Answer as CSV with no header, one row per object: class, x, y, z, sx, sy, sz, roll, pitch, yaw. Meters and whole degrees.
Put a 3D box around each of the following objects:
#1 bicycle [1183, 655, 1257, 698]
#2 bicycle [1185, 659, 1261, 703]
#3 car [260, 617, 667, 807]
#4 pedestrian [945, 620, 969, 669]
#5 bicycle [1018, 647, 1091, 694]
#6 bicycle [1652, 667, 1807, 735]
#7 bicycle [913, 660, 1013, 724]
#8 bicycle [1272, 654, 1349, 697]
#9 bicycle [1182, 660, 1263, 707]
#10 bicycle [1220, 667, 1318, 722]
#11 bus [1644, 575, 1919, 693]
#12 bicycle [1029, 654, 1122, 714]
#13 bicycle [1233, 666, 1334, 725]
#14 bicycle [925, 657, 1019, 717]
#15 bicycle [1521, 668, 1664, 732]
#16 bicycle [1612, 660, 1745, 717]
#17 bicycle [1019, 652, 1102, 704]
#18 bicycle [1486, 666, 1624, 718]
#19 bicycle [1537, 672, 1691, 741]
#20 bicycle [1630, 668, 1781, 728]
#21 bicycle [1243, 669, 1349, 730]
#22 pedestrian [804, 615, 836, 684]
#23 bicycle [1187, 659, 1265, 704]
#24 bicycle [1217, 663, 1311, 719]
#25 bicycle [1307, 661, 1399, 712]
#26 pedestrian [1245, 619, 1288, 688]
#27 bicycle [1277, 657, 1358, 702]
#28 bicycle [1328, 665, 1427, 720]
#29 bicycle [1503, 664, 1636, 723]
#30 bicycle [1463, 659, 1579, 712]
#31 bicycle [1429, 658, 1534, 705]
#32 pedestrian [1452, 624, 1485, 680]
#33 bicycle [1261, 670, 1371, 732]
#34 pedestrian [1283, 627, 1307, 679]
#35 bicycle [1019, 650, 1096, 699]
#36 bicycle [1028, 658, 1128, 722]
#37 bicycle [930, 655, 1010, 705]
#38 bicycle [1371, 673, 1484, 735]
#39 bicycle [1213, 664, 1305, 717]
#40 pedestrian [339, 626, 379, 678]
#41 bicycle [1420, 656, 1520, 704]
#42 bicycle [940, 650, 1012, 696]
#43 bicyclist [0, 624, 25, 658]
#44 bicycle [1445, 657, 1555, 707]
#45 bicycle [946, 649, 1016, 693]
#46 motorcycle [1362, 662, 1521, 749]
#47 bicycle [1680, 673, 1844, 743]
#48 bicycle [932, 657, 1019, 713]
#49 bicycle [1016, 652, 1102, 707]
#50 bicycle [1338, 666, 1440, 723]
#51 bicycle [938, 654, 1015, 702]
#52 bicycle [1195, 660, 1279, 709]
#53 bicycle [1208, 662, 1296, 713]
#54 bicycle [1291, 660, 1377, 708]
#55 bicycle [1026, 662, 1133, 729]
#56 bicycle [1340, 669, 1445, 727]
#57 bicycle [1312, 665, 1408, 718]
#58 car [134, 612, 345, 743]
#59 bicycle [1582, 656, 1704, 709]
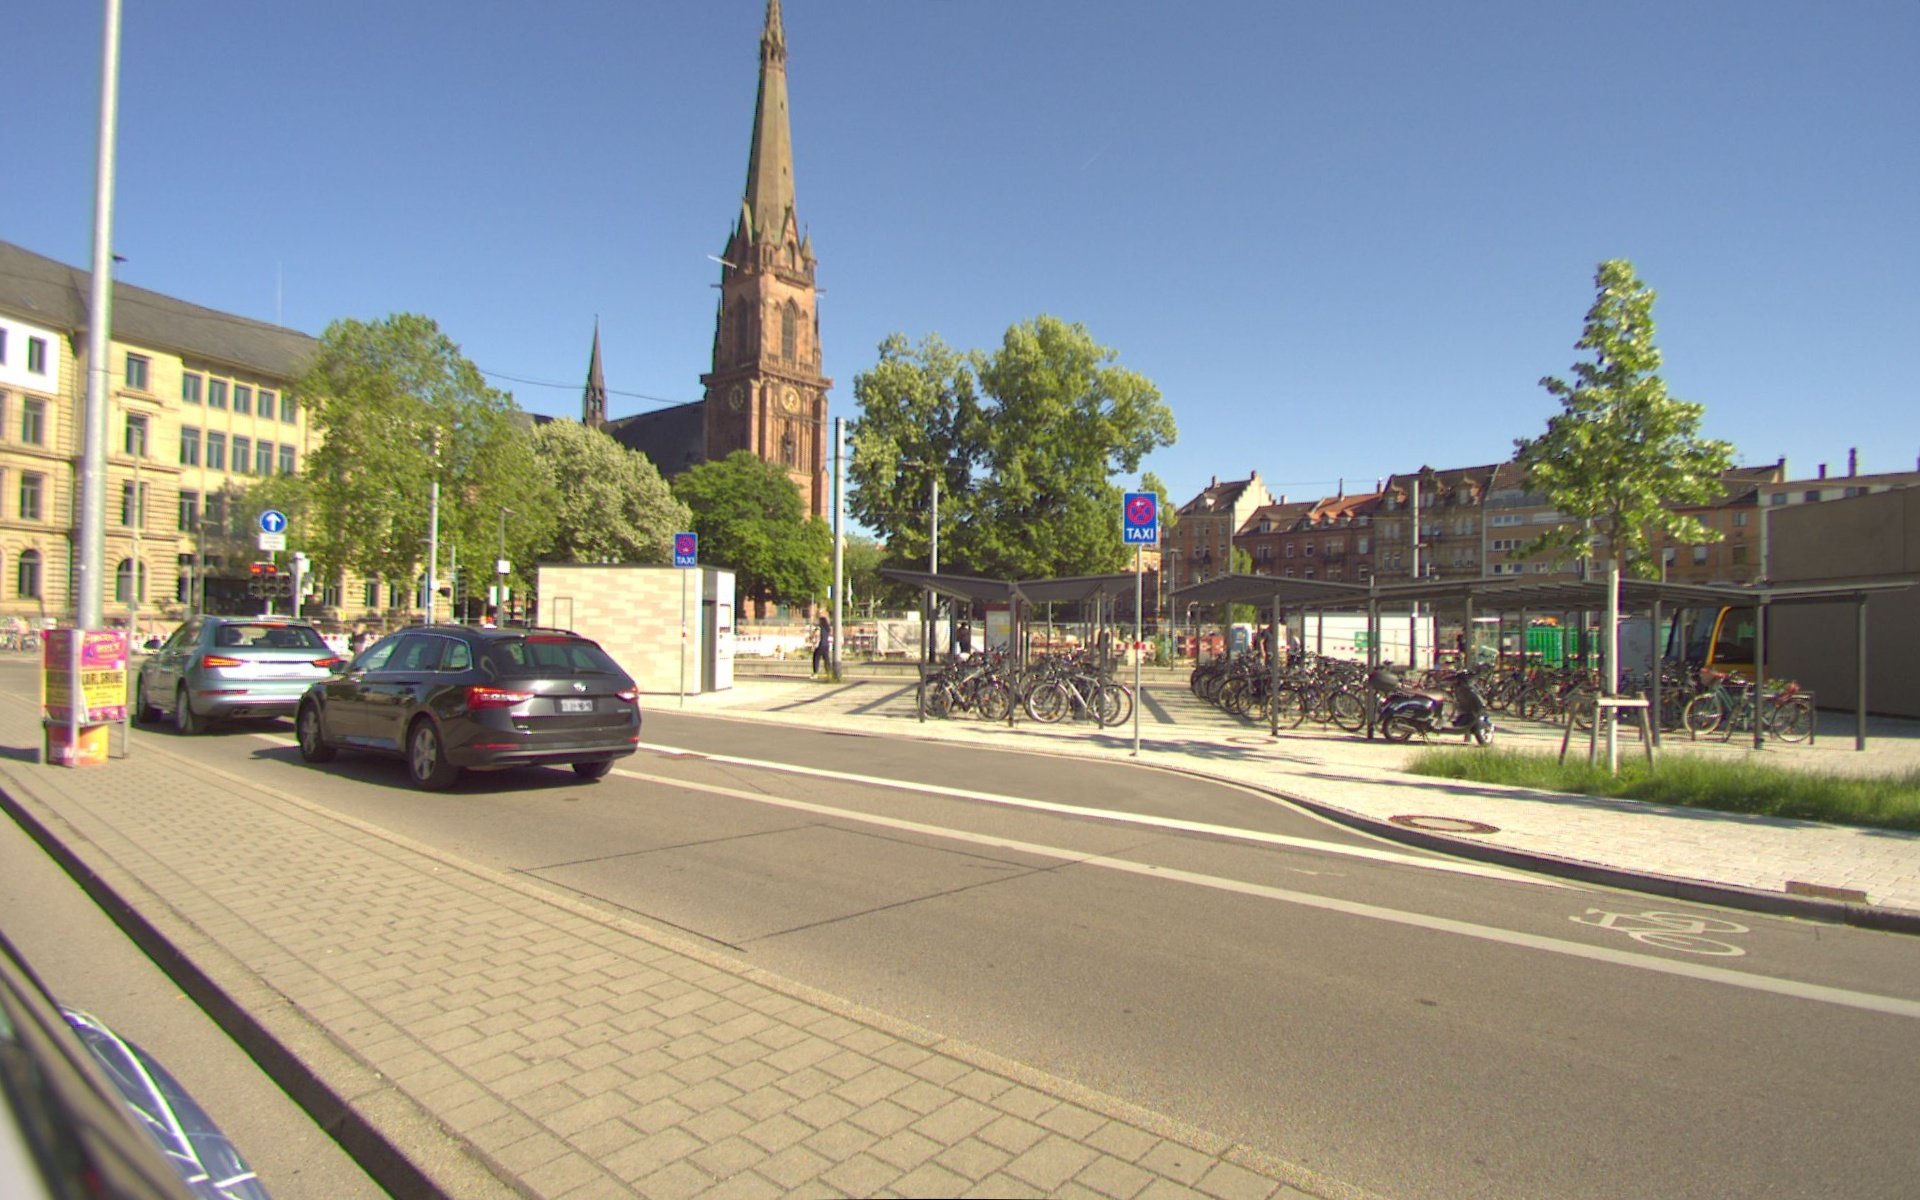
bicycle,6.245,1.835,24.313,1.661,0.980,0.406,1,-5,3
bicycle,6.127,1.880,23.626,1.661,0.980,0.406,1,-5,3
car,-5.202,0.984,10.296,4.778,1.516,1.796,-1,-4,39
pedestrian,-0.132,1.707,39.205,0.610,1.874,0.703,2,-2,-39
bicycle,2.303,1.722,24.679,1.755,1.083,0.406,1,0,6
bicycle,12.979,1.695,17.118,2.030,1.087,0.604,-1,0,7
bicycle,0.057,1.572,17.384,1.663,1.006,0.406,2,0,8
bicycle,8.281,1.783,23.917,1.661,0.980,0.406,-1,0,3
bicycle,5.775,1.836,22.298,1.661,0.980,0.406,1,-5,3
bicycle,5.718,1.748,18.770,1.661,0.980,0.406,-1,0,3
bus,27.029,0.954,28.073,13.462,3.095,2.859,0,-2,6
bicycle,2.225,1.619,19.584,1.755,1.083,0.406,1,0,6
bicycle,5.805,1.708,18.190,1.661,0.980,0.406,1,0,3
bicycle,0.221,1.595,18.602,1.663,1.006,0.406,2,0,8
bicycle,10.996,1.736,17.636,2.048,1.045,0.533,-1,0,8
bicycle,13.842,1.698,19.527,2.048,1.045,0.533,-1,0,8
bicycle,2.183,1.693,22.030,1.755,1.083,0.406,1,0,6
bicycle,11.604,1.797,19.792,2.208,0.951,0.685,-1,0,7
bicycle,10.563,1.710,16.391,2.048,1.045,0.533,-1,0,8
bicycle,13.469,1.767,18.332,2.117,1.005,0.690,-1,0,7
bicycle,5.784,1.708,17.465,1.661,0.980,0.406,1,0,3
pedestrian,-3.850,1.351,27.858,0.695,1.874,0.618,0,-2,12
bicycle,6.043,1.858,23.053,1.661,0.980,0.406,1,-5,3
bicycle,5.804,1.736,19.377,1.661,0.980,0.406,1,0,3
bicycle,7.847,1.729,20.231,1.661,0.980,0.406,-1,0,3
pedestrian,8.251,1.426,27.289,0.823,1.739,0.620,7,-1,4
bicycle,8.063,1.786,22.840,1.661,0.980,0.406,-1,0,3
bicycle,7.832,1.729,19.015,1.661,0.980,0.406,-1,0,3
bicycle,11.312,1.732,18.814,2.048,1.045,0.533,-1,0,8
bicycle,11.766,1.794,21.267,2.048,1.045,0.533,-1,2,8
bicycle,12.020,1.878,23.376,2.048,1.045,0.533,-1,-4,8
pedestrian,17.692,1.797,35.224,0.793,1.931,0.769,0,-2,4
bicycle,5.924,1.683,16.891,1.661,0.980,0.406,-1,0,3
pedestrian,13.307,2.110,40.190,0.793,2.029,0.535,0,-2,4
bicycle,2.262,1.729,23.500,1.755,1.083,0.406,1,0,6
bicycle,2.129,1.615,18.338,1.753,1.083,0.406,1,0,6
bicycle,0.219,1.674,21.405,1.663,1.006,0.406,0,0,8
bicycle,7.758,1.722,16.823,1.661,0.980,0.406,-1,0,3
bicycle,5.891,1.779,19.960,1.661,0.980,0.406,1,0,3
pedestrian,-19.792,1.699,33.326,0.628,1.680,0.922,-1,-2,32
bicycle,12.289,1.918,24.431,2.048,1.045,0.533,1,3,8
bicycle,0.383,1.700,23.663,1.663,1.006,0.406,0,0,8
bicyclist,-44.264,1.896,46.904,1.125,1.552,0.684,1,-2,-14
bicycle,11.855,1.800,22.258,2.048,1.045,0.533,-1,2,8
bicycle,0.507,1.700,24.188,1.663,1.006,0.406,0,0,8
motorcycle,7.183,1.569,15.161,2.059,1.228,0.569,-1,-2,3
bicycle,12.757,1.713,16.140,2.048,1.045,0.533,-1,0,8
bicycle,0.318,1.662,19.946,1.663,1.006,0.406,2,0,8
bicycle,2.042,1.641,20.974,1.755,1.083,0.406,1,0,6
bicycle,7.813,1.721,18.461,1.661,0.980,0.406,-1,0,3
bicycle,0.374,1.703,22.286,1.663,1.006,0.406,0,0,8
bicycle,5.915,1.804,21.641,1.661,0.980,0.406,1,-5,3
bicycle,5.915,1.783,20.566,1.661,0.980,0.406,1,-5,3
bicycle,7.978,1.788,21.625,1.661,0.980,0.406,-1,0,3
bicycle,2.012,1.604,17.093,1.753,1.083,0.406,1,-3,6
bicycle,7.633,1.724,17.894,1.661,0.980,0.406,-1,0,3
bicycle,7.706,1.761,19.531,1.661,0.980,0.406,-1,0,3
car,-10.414,1.032,14.503,1.767,1.594,4.260,4,-4,-44
bicycle,14.068,1.695,20.879,2.048,1.045,0.533,-1,0,8
